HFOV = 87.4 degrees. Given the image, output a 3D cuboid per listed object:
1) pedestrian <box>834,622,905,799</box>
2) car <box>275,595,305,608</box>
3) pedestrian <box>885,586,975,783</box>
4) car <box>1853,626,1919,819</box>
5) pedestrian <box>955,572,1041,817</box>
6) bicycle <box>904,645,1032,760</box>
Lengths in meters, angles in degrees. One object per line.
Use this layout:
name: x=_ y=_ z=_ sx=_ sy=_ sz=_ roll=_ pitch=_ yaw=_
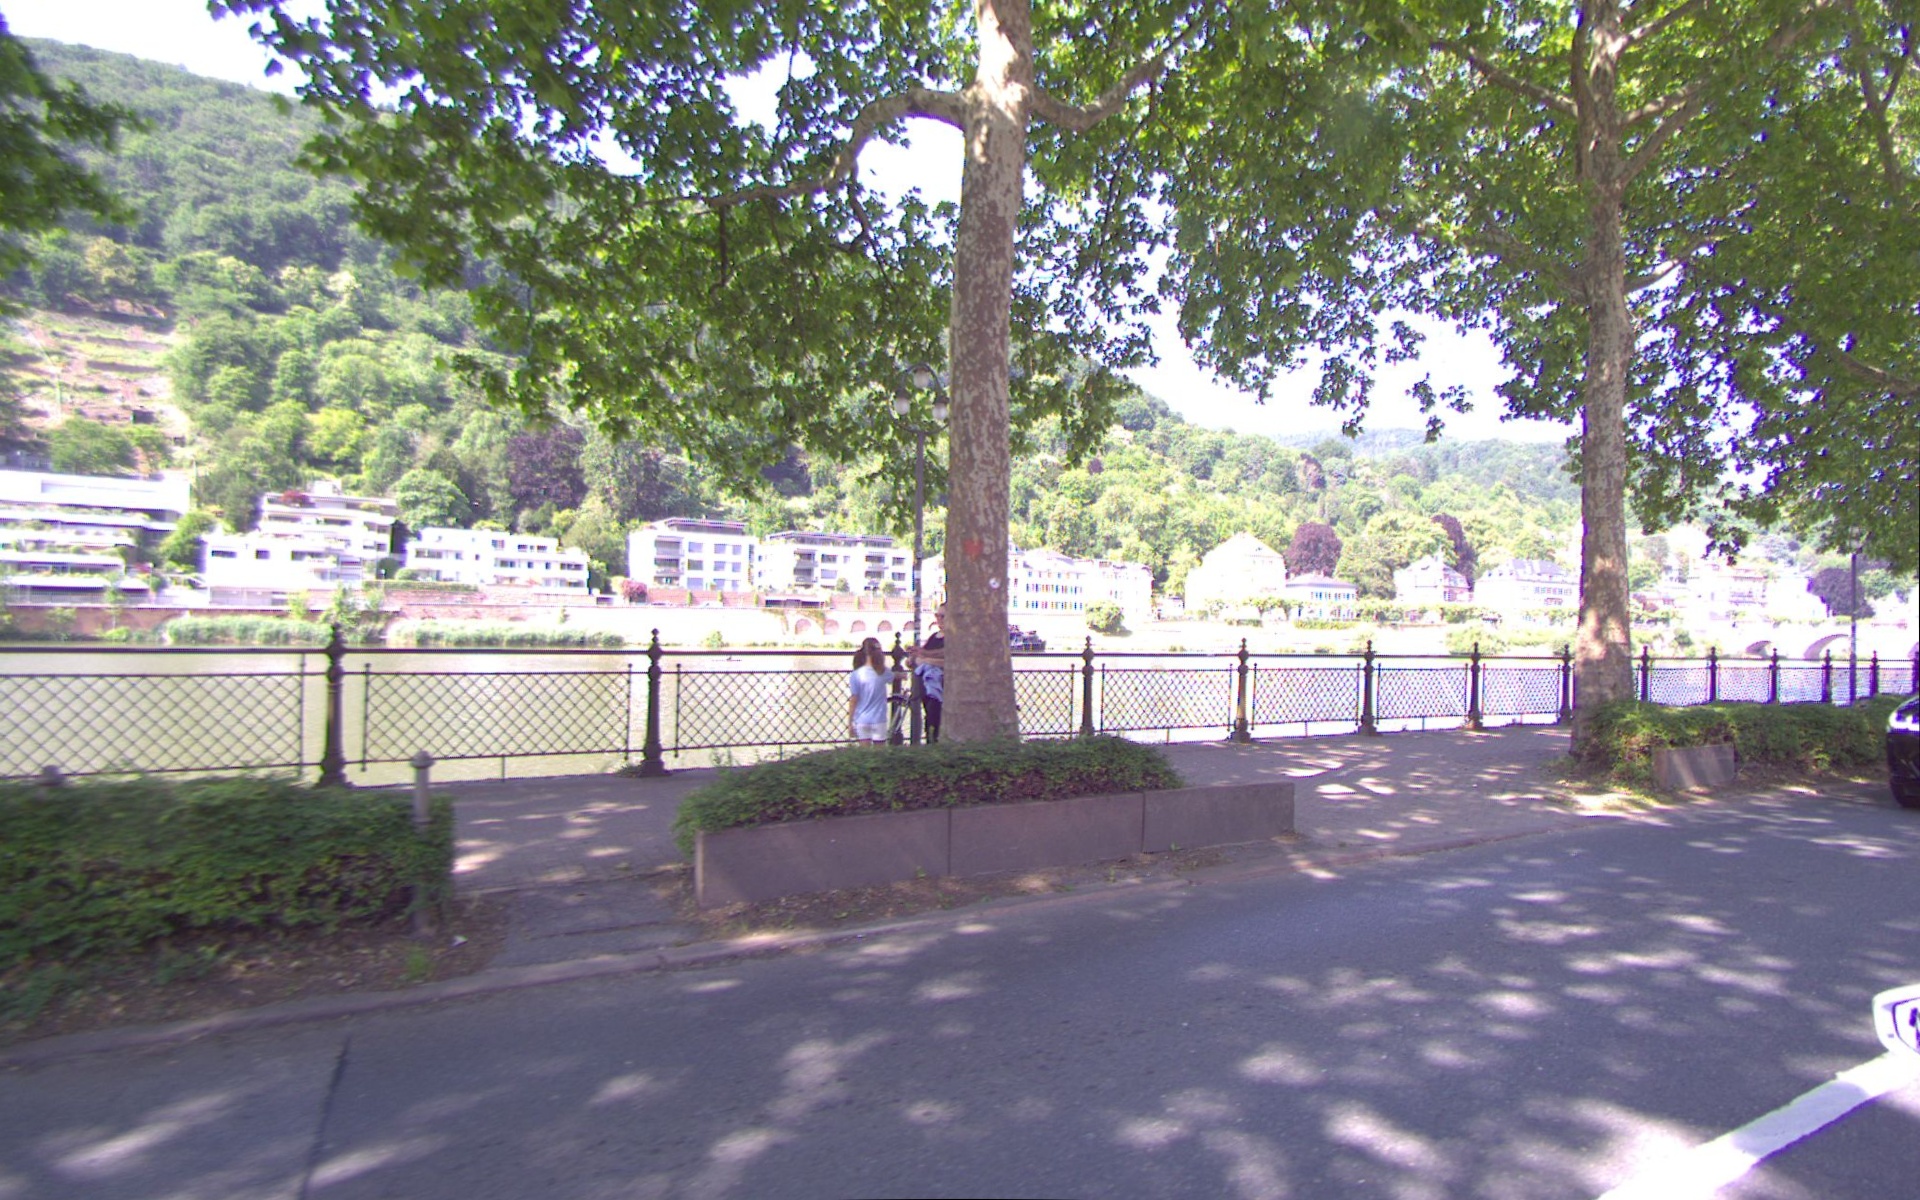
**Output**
pedestrian: x=-0.743 y=0.873 z=8.162 sx=0.411 sy=1.381 sz=0.477 roll=2 pitch=-1 yaw=-25
car: x=-108.385 y=0.266 z=162.505 sx=3.952 sy=2.041 sz=1.984 roll=0 pitch=2 yaw=-30
pedestrian: x=-0.278 y=0.745 z=9.158 sx=0.577 sy=1.708 sz=0.598 roll=2 pitch=-1 yaw=-31
car: x=10.870 y=1.123 z=9.822 sx=4.369 sy=1.747 sz=1.805 roll=2 pitch=-6 yaw=-30
pedestrian: x=0.305 y=0.742 z=8.181 sx=0.431 sy=1.912 sz=0.532 roll=2 pitch=0 yaw=-30
bicycle: x=0.090 y=1.037 z=10.419 sx=1.281 sy=1.106 sz=0.357 roll=2 pitch=2 yaw=-31
